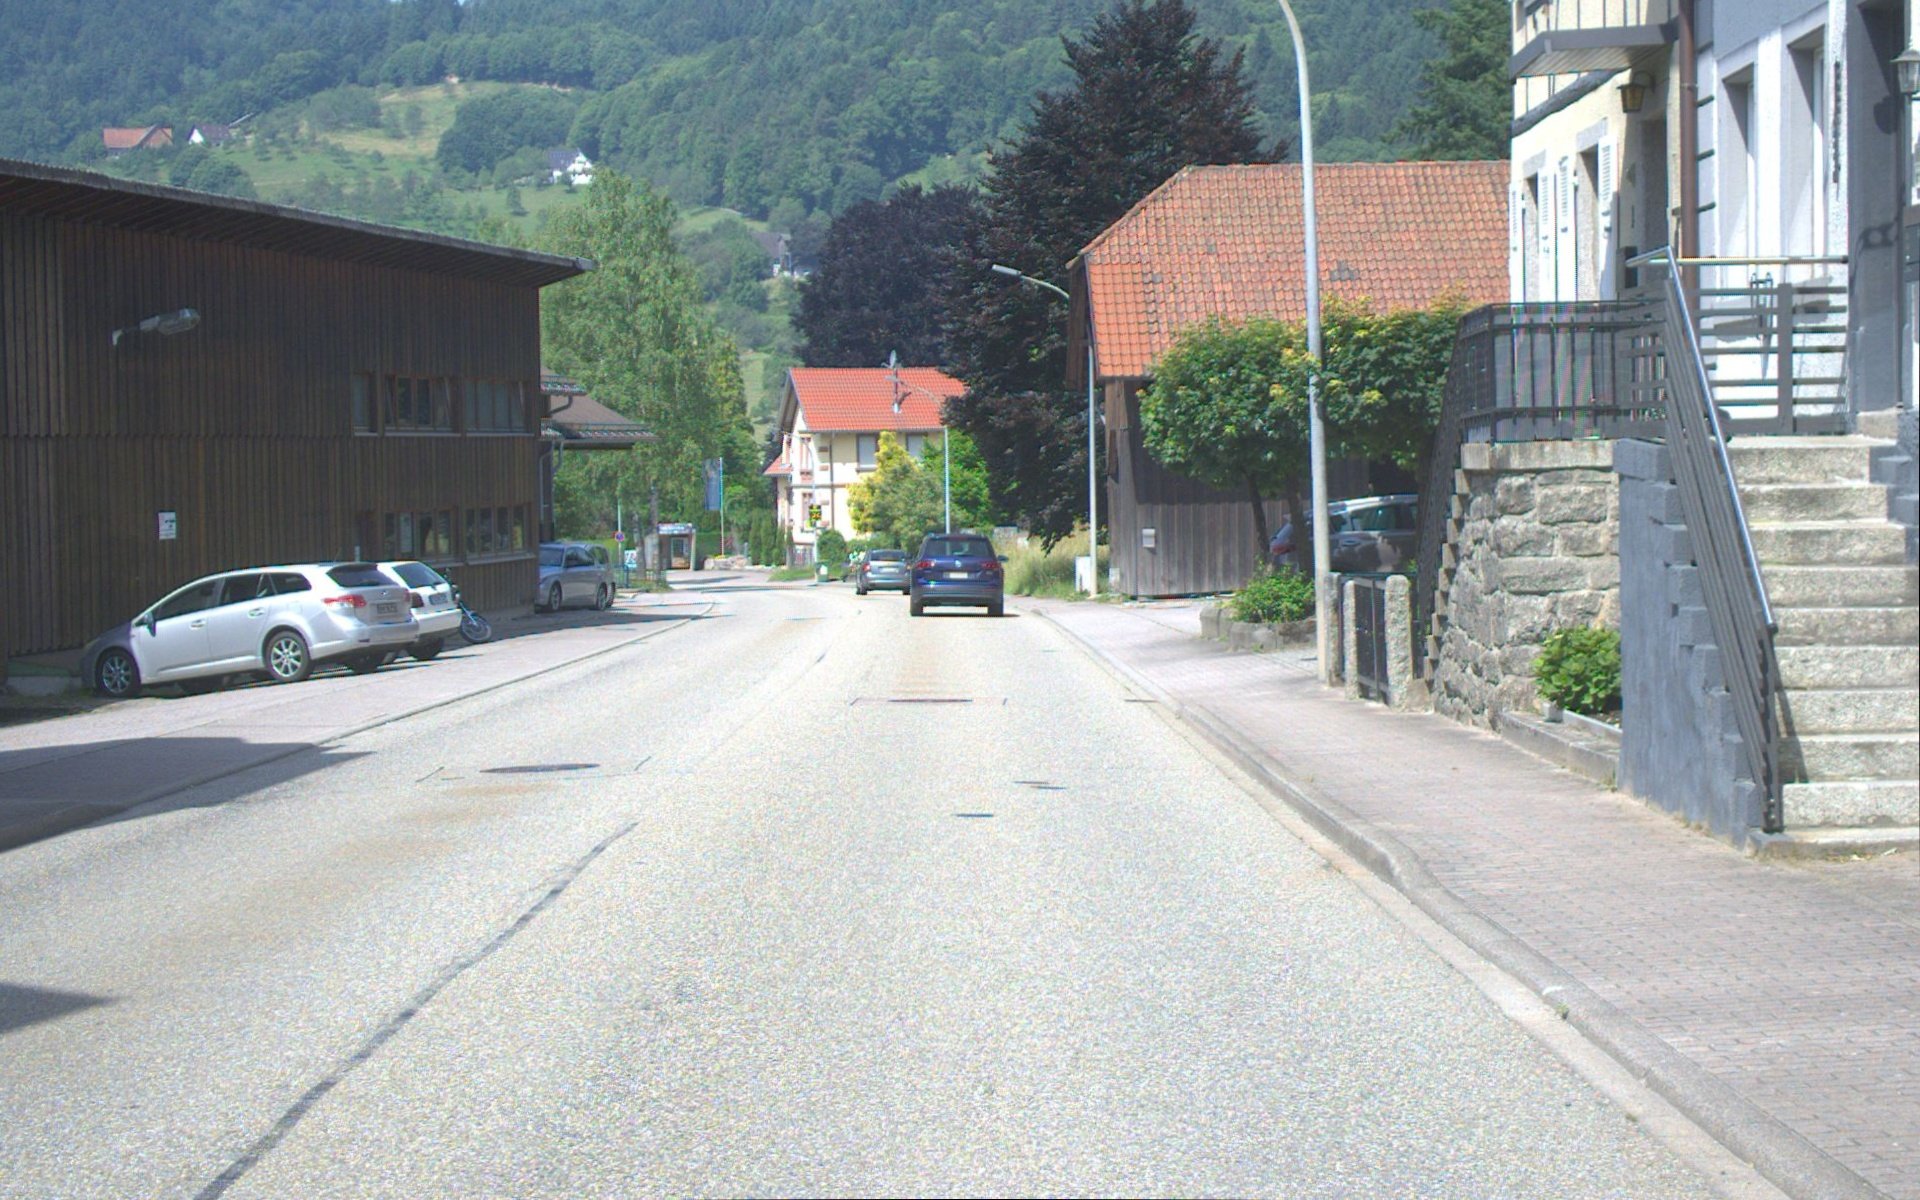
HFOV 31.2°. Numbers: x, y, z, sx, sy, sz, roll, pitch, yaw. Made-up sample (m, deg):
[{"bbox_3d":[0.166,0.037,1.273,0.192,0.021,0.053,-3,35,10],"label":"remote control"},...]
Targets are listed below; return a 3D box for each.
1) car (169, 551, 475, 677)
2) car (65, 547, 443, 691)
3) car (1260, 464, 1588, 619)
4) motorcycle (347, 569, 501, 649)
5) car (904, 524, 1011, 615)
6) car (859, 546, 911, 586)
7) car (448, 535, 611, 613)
[{"bbox_3d":[-8.775,0.188,47.356,3.661,1.381,1.710,-5,0,15],"label":"car"},{"bbox_3d":[-9.144,0.252,44.501,4.435,1.469,1.922,-4,1,26],"label":"car"},{"bbox_3d":[6.375,-0.810,47.595,4.221,1.681,1.776,-6,1,4],"label":"car"},{"bbox_3d":[-9.020,0.150,57.903,2.409,1.260,0.743,-2,1,10],"label":"motorcycle"},{"bbox_3d":[-0.075,-0.612,67.736,1.919,1.692,3.789,-2,1,-2],"label":"car"},{"bbox_3d":[-2.434,-1.110,111.380,1.476,1.205,2.384,-2,1,-5],"label":"car"},{"bbox_3d":[-8.848,-0.561,71.063,1.730,1.449,4.802,0,2,13],"label":"car"}]
